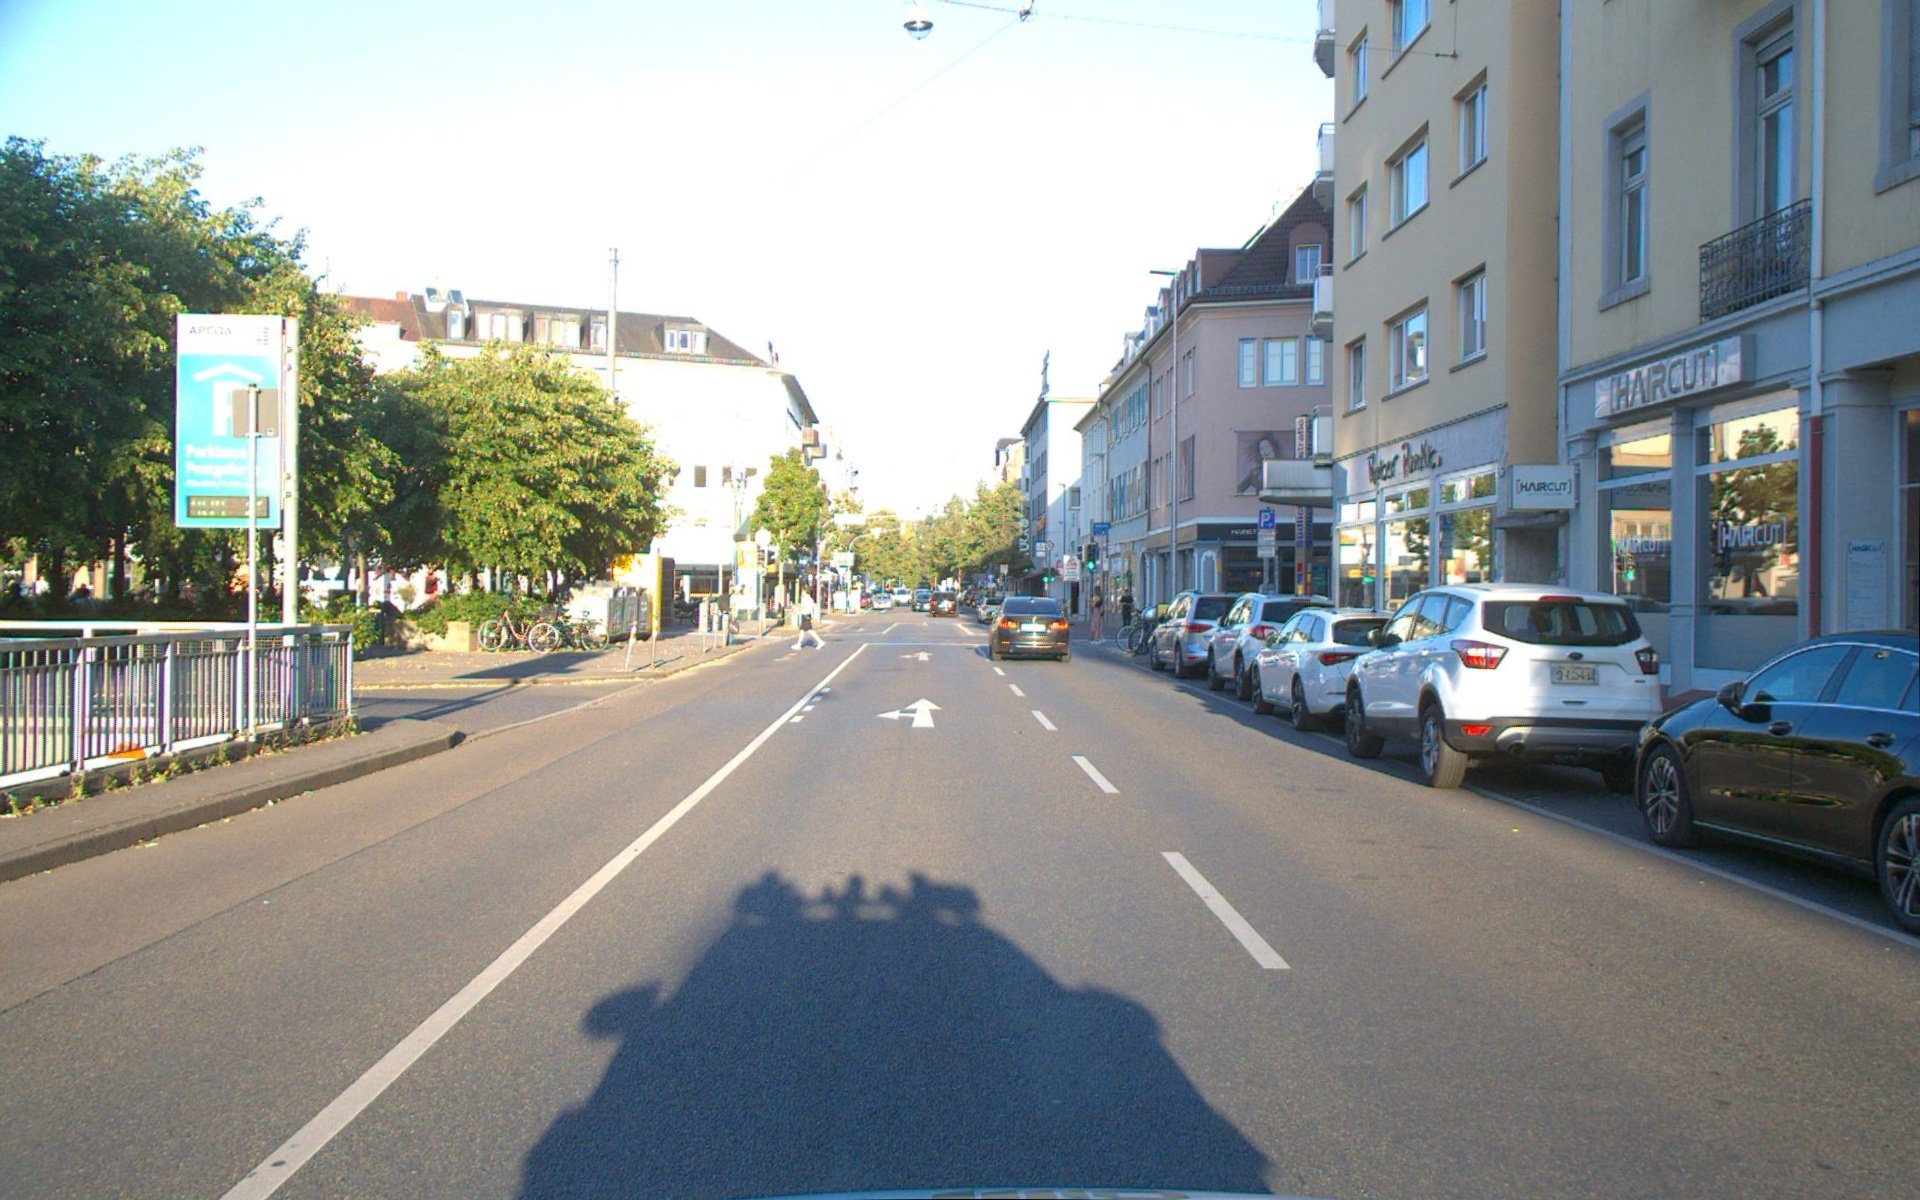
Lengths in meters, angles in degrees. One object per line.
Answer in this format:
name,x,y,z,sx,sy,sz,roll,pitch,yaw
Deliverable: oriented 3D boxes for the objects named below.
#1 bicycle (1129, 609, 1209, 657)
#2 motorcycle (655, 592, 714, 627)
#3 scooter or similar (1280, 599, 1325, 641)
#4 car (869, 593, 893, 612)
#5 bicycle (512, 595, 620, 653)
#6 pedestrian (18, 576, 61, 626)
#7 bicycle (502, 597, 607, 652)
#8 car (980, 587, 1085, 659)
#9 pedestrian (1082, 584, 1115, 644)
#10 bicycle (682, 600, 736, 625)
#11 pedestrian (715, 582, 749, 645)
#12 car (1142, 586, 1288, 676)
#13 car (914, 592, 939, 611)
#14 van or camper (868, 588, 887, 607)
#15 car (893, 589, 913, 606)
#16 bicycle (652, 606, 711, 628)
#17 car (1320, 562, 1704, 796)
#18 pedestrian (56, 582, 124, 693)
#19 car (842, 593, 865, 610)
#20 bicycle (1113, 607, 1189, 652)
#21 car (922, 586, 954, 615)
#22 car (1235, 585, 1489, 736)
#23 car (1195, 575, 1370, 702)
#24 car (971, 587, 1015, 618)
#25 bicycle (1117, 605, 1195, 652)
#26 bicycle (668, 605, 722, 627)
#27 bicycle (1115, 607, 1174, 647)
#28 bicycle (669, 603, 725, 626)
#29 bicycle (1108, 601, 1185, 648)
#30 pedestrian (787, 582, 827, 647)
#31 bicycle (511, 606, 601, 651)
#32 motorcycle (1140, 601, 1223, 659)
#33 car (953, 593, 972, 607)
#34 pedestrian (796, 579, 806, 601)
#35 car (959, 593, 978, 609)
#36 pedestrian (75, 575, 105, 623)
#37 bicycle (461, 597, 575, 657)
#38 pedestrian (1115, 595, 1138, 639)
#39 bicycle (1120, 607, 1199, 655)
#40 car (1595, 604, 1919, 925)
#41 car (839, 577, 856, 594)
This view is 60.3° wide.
bicycle,5.053,0.791,40.075,1.847,1.132,0.593,1,-2,-5
motorcycle,-11.760,0.400,70.650,2.364,1.451,1.112,0,0,-2
scooter or similar,10.764,0.636,51.985,1.289,1.286,0.524,1,0,21
car,-6.916,0.213,145.698,1.855,1.624,4.000,1,0,0
bicycle,-9.274,0.561,38.959,2.382,1.259,0.517,2,0,-3
pedestrian,-33.505,0.040,60.216,0.695,1.809,1.190,0,0,34
bicycle,-9.708,0.582,39.631,2.382,1.259,0.462,1,0,-3
car,1.592,0.485,37.773,1.852,1.518,4.200,1,0,-5
pedestrian,4.052,0.407,48.538,0.779,1.750,0.810,1,0,-8
bicycle,-11.937,0.613,78.589,2.473,1.166,0.700,0,0,-4
pedestrian,-6.459,0.369,46.816,0.866,1.750,0.713,1,0,-13
car,4.938,0.569,32.690,1.953,1.641,4.801,0,0,-2
car,-2.612,0.108,131.038,1.846,1.512,4.000,1,0,0
van or camper,-10.789,-0.297,216.024,2.424,2.447,3.996,1,0,-5
car,-6.187,-0.248,179.960,1.952,1.780,4.000,1,0,0
bicycle,-12.210,0.733,72.450,2.473,0.935,0.700,0,0,-4
car,4.765,0.558,15.074,1.844,1.775,4.659,0,2,-1
pedestrian,-15.761,0.669,29.972,0.785,1.982,0.731,0,0,12
car,-10.157,0.137,158.143,1.855,1.624,4.000,1,0,0
bicycle,4.982,0.759,43.210,1.847,1.132,0.761,1,0,-5
car,-1.380,-0.002,105.123,1.953,1.780,3.999,1,0,-1
car,4.883,0.655,20.870,1.974,1.570,4.869,0,2,-1
car,5.044,0.537,26.478,1.830,1.792,4.407,0,2,-2
car,1.791,0.122,91.281,2.286,1.632,3.893,1,0,-1
bicycle,4.898,0.719,41.446,1.847,1.132,0.601,1,0,-4
bicycle,-11.820,0.716,73.802,2.281,0.935,0.700,0,0,-4
bicycle,4.884,0.715,43.810,1.471,1.044,0.512,-1,0,-6
bicycle,-12.064,0.668,75.908,2.473,1.015,0.933,0,0,-4
bicycle,4.775,0.631,42.396,1.847,1.188,0.722,0,0,-5
pedestrian,-4.192,0.397,45.267,0.858,1.750,0.753,1,0,-26
bicycle,-9.811,0.695,40.215,2.002,0.988,0.635,3,0,-3
motorcycle,5.084,0.685,38.051,1.776,1.285,0.715,-1,0,-4
car,0.244,-0.020,190.216,1.857,1.624,3.997,1,0,-4
pedestrian,-12.972,-0.795,134.957,0.670,1.751,0.702,1,0,-1
car,0.869,0.071,177.271,1.745,1.624,3.632,1,0,-4
pedestrian,-33.008,-0.053,62.738,0.879,1.809,0.707,0,0,37
bicycle,-10.000,0.598,37.430,2.451,1.306,0.816,1,0,19
pedestrian,6.977,0.694,69.196,0.742,1.808,1.047,1,0,-6
bicycle,4.929,0.763,40.906,1.847,1.132,0.521,1,0,-5
car,5.437,0.788,9.108,1.953,1.459,4.849,1,0,-1
car,-13.919,-1.817,205.192,1.790,2.049,3.676,1,0,0
